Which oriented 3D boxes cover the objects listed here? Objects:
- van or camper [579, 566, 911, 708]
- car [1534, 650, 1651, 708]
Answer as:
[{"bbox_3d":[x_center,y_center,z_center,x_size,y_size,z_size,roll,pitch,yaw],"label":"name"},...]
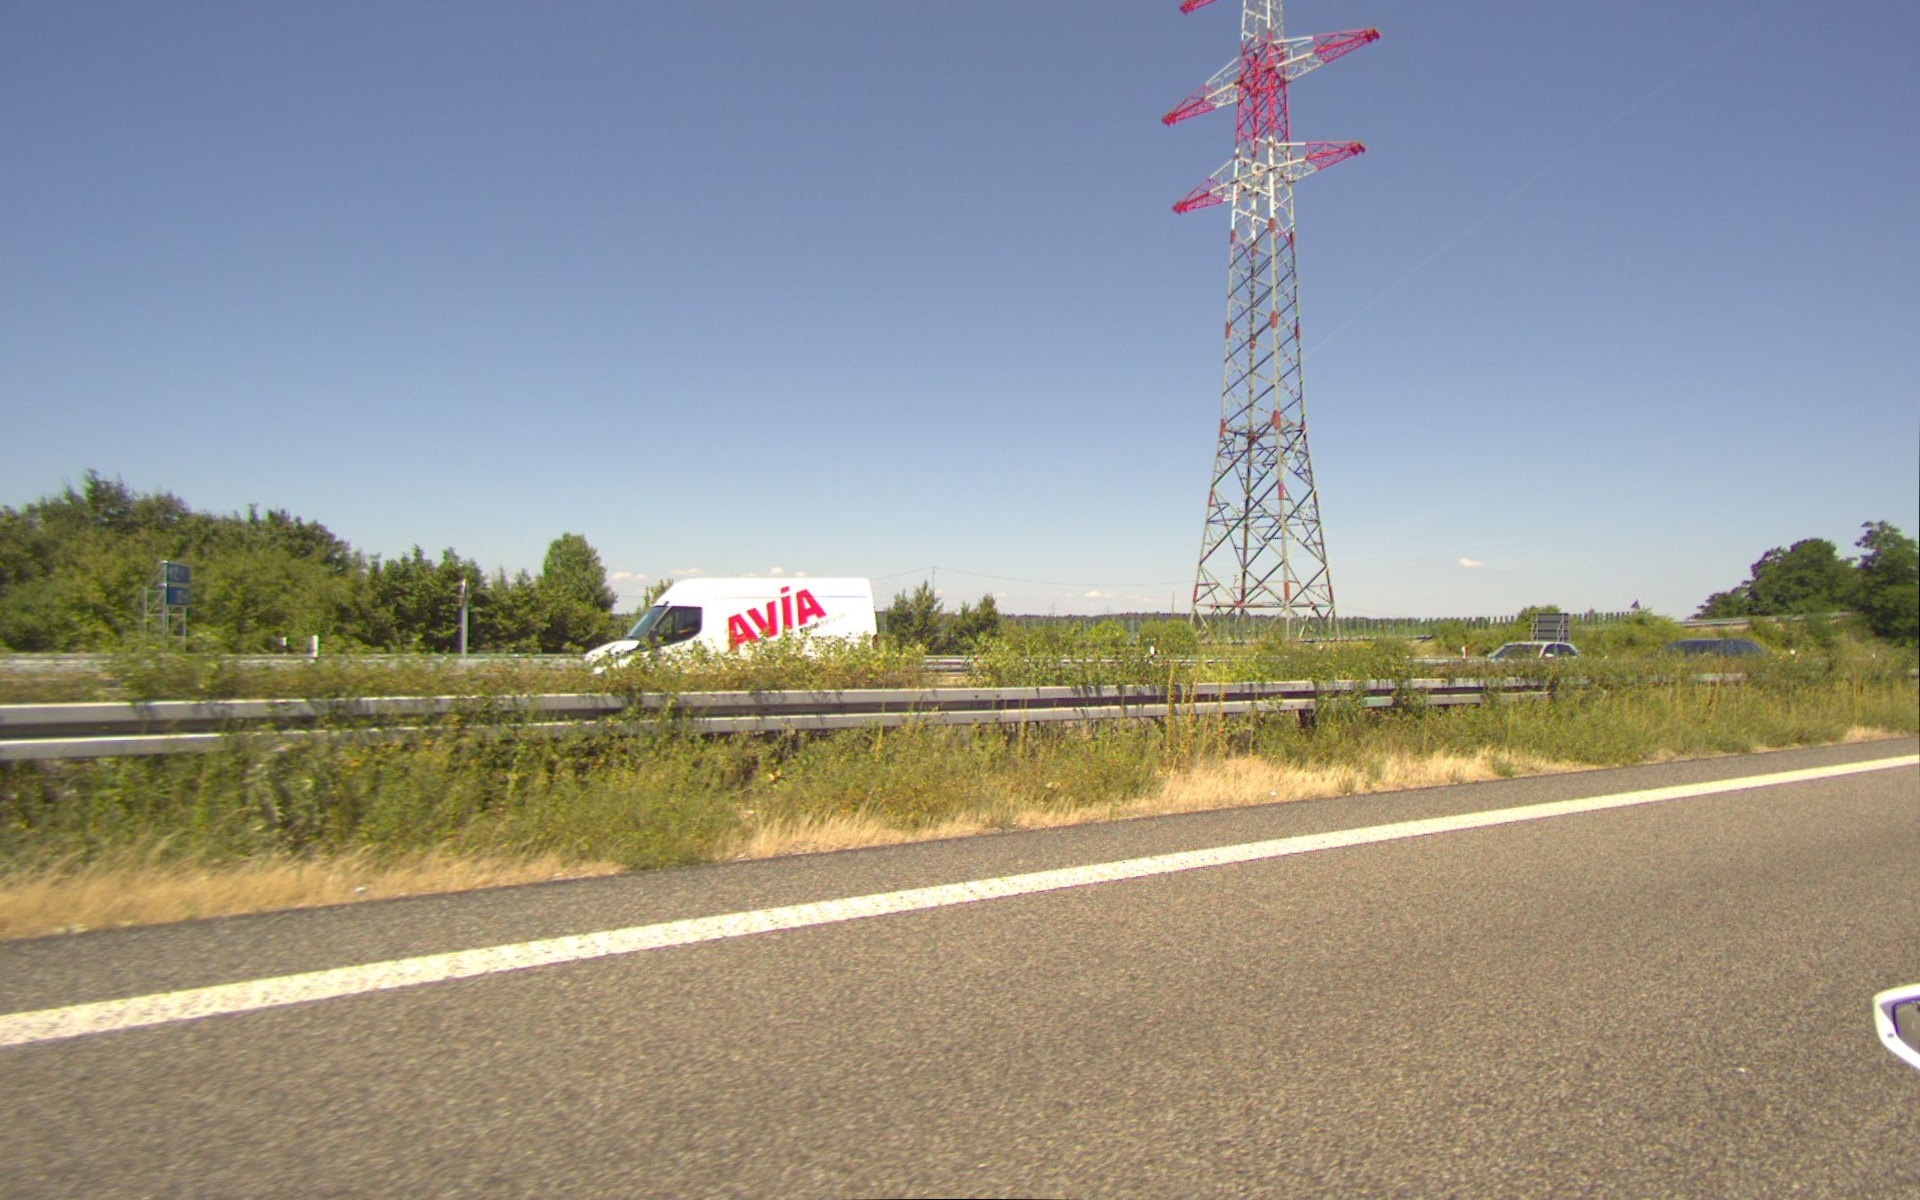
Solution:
[{"bbox_3d":[-4.298,0.727,20.624,6.315,2.558,2.049,2,0,-30],"label":"van or camper"},{"bbox_3d":[18.421,2.255,29.241,3.362,1.535,1.440,2,0,-30],"label":"car"}]
